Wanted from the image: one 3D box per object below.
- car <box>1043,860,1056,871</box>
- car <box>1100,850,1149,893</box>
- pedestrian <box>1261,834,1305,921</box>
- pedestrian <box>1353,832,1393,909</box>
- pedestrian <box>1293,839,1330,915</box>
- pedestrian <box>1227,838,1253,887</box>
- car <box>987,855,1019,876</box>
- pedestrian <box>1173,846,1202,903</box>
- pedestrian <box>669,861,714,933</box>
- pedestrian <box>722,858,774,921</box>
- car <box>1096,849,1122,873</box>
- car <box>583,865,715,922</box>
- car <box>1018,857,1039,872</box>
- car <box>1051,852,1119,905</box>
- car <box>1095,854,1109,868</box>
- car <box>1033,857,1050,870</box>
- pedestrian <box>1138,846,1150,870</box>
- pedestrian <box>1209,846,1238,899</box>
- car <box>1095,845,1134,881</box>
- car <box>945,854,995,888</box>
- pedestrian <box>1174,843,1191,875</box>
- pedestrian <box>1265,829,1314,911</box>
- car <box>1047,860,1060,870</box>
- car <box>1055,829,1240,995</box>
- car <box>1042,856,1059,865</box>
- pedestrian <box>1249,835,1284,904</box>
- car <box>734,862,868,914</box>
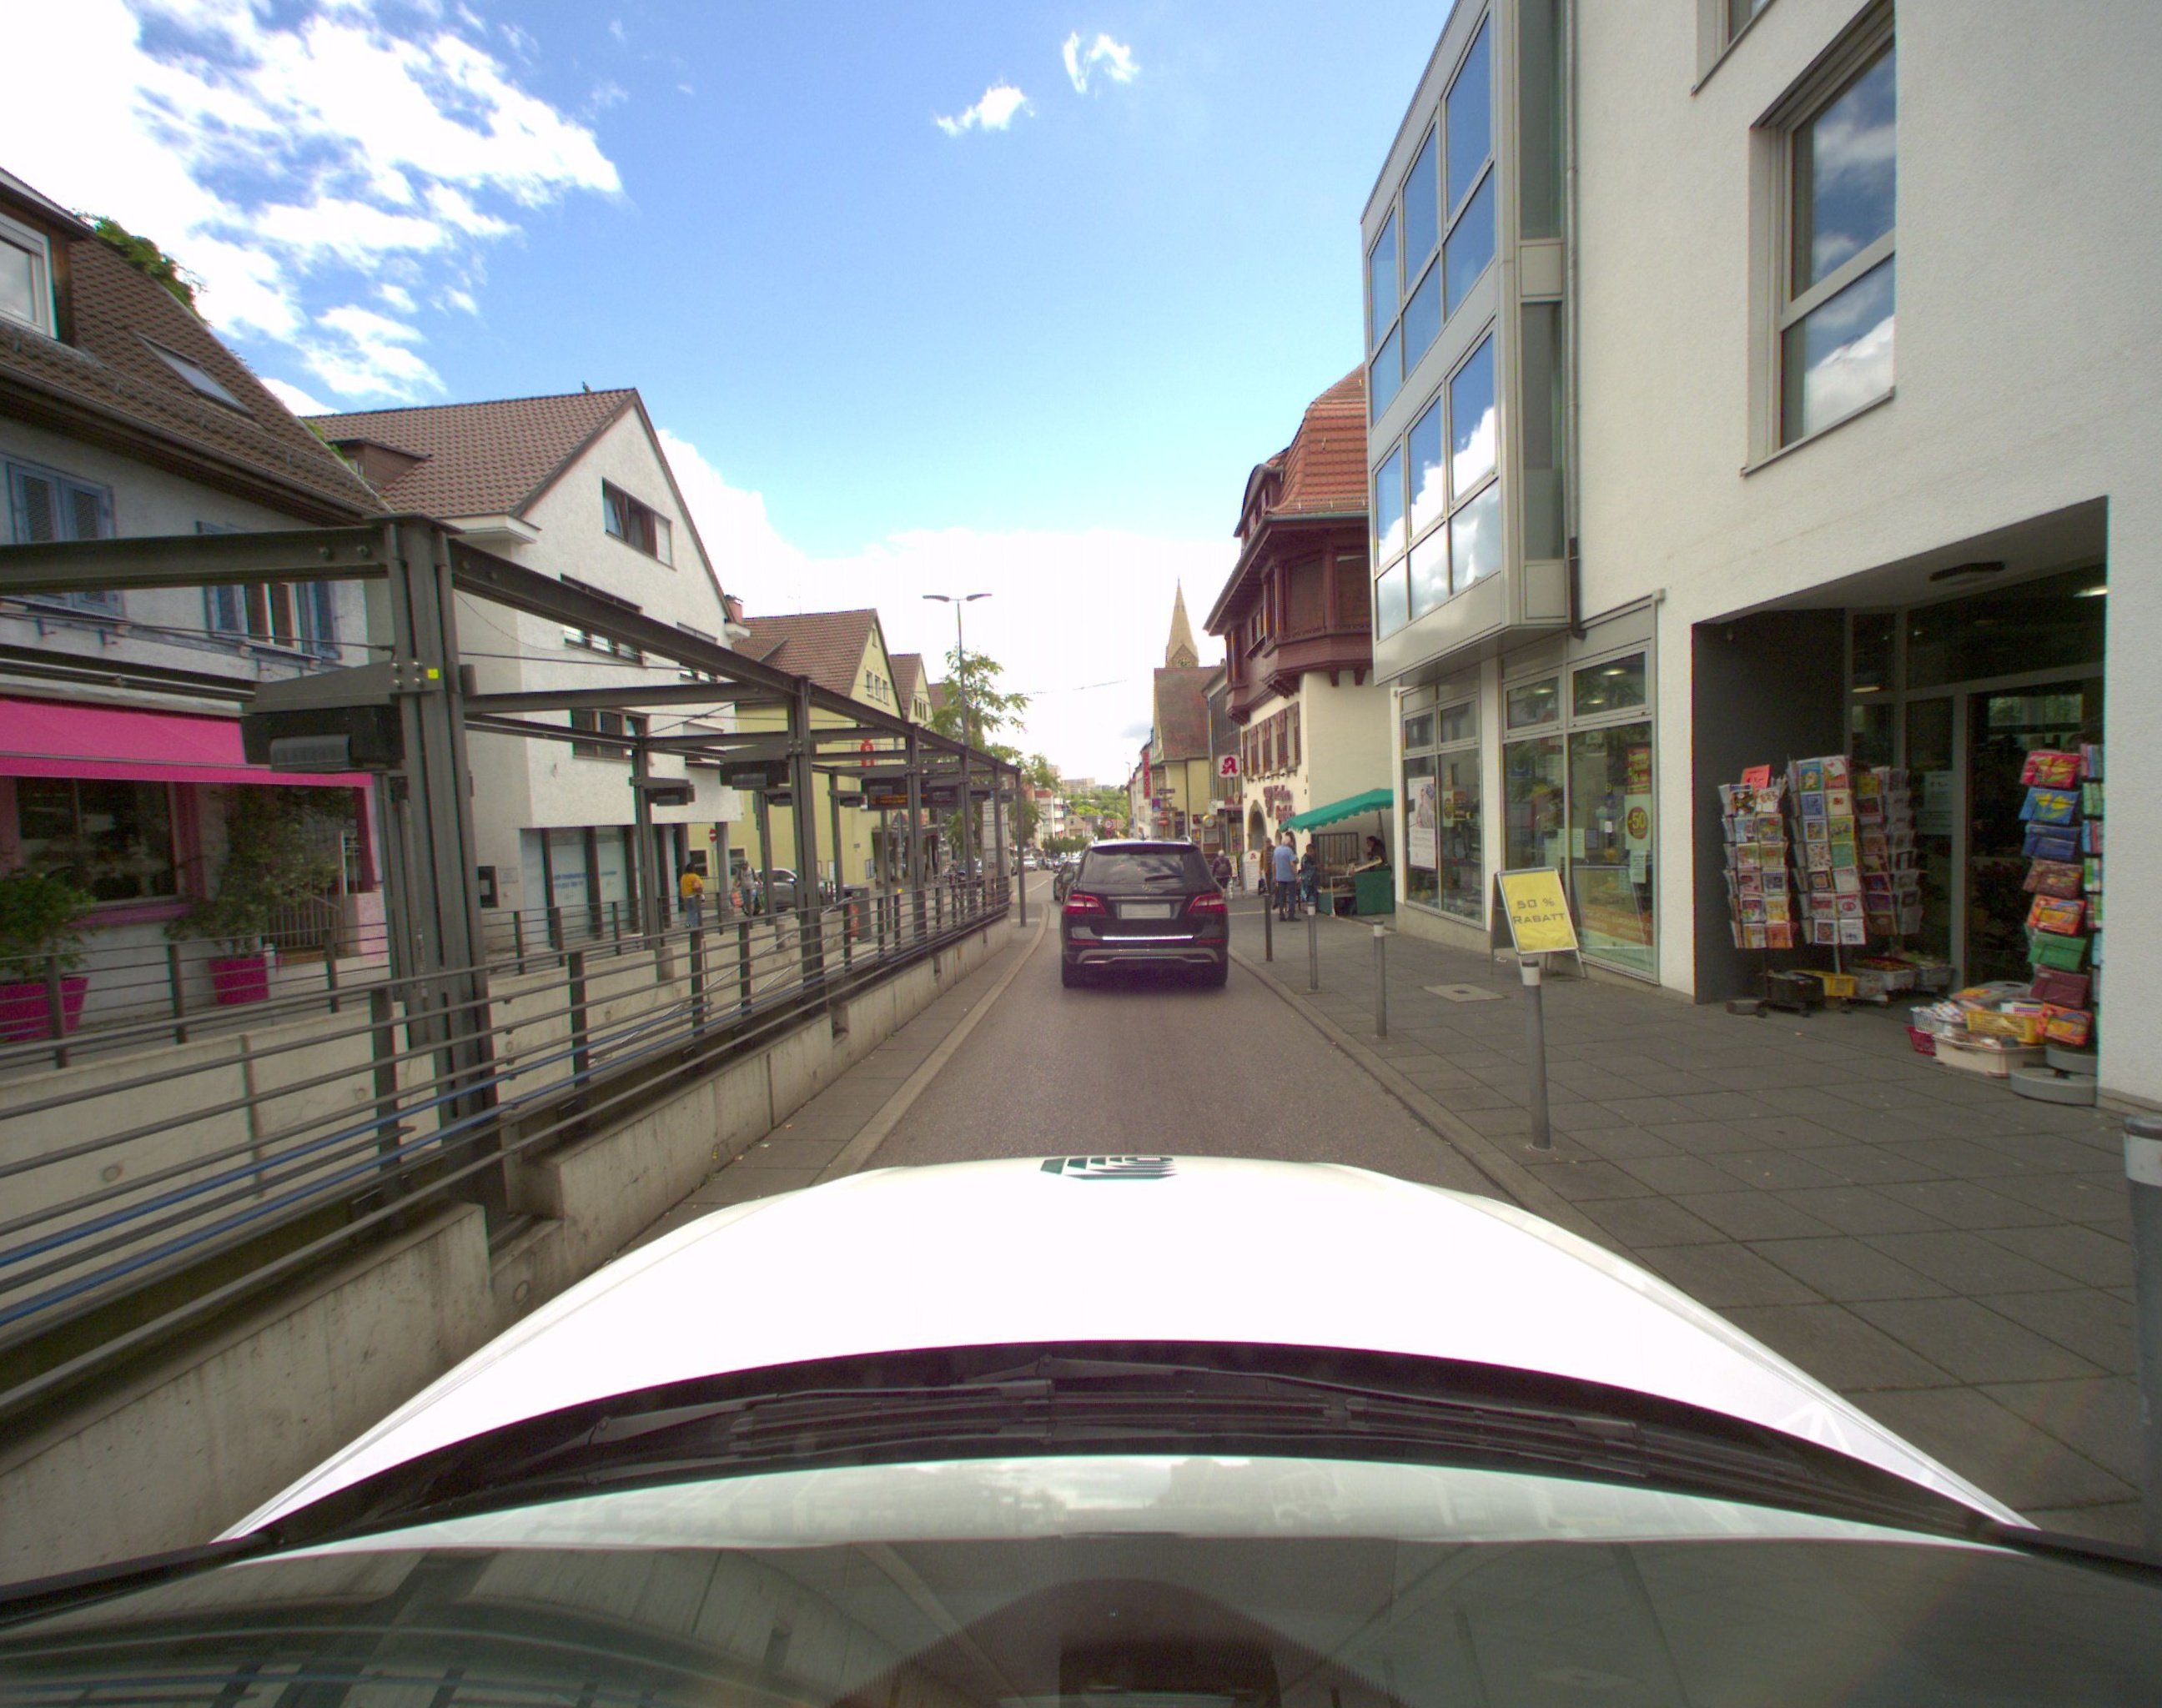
[{"bbox_3d":[-4.666,1.734,122.789,1.921,1.496,4.259,0,0,-2],"label":"car"},{"bbox_3d":[1.756,0.675,33.699,1.796,1.555,3.955,-3,0,2],"label":"car"},{"bbox_3d":[4.214,0.477,16.967,0.694,1.767,0.629,-3,0,27],"label":"pedestrian"},{"bbox_3d":[6.306,0.348,17.608,0.620,1.612,0.704,-3,0,6],"label":"pedestrian"},{"bbox_3d":[5.065,0.491,17.942,0.620,1.612,0.704,-3,0,6],"label":"pedestrian"},{"bbox_3d":[5.888,0.314,30.188,0.771,1.769,0.818,-2,0,2],"label":"pedestrian"},{"bbox_3d":[-5.847,0.811,61.503,1.920,1.492,4.842,0,0,0],"label":"car"},{"bbox_3d":[3.177,0.599,24.225,0.768,1.645,0.872,-3,0,7],"label":"pedestrian"},{"bbox_3d":[-9.873,1.066,20.645,0.635,1.738,0.835,-4,0,-1],"label":"pedestrian"},{"bbox_3d":[-9.884,1.035,24.183,0.909,1.787,0.992,-3,0,17],"label":"pedestrian"},{"bbox_3d":[2.088,0.507,60.725,1.742,1.607,3.802,-4,0,2],"label":"car"},{"bbox_3d":[-17.964,1.624,33.998,4.318,1.805,2.004,-5,3,5],"label":"car"},{"bbox_3d":[-5.402,1.037,84.219,1.920,1.511,4.261,0,0,0],"label":"car"},{"bbox_3d":[0.064,0.754,26.624,1.783,1.540,3.736,-3,0,-6],"label":"car"},{"bbox_3d":[3.334,1.092,128.773,1.931,1.891,4.707,-4,0,1],"label":"car"},{"bbox_3d":[-4.878,1.188,101.480,1.920,1.621,4.638,-1,-1,0],"label":"car"},{"bbox_3d":[4.786,0.302,62.093,0.793,1.727,1.053,-3,0,1],"label":"pedestrian"},{"bbox_3d":[4.215,0.534,24.121,0.720,1.531,0.809,-3,0,7],"label":"pedestrian"},{"bbox_3d":[1.907,0.456,44.811,1.868,1.799,4.738,-2,0,5],"label":"car"},{"bbox_3d":[-5.944,0.871,44.226,2.000,1.693,4.608,-1,1,1],"label":"car"},{"bbox_3d":[5.594,0.294,44.898,0.859,1.707,0.947,-3,0,7],"label":"pedestrian"},{"bbox_3d":[4.860,0.370,18.955,0.771,1.857,0.707,-3,0,44],"label":"pedestrian"},{"bbox_3d":[-4.374,1.730,130.177,1.921,1.595,4.454,0,0,-2],"label":"car"},{"bbox_3d":[0.763,0.606,10.690,1.936,1.740,4.180,0,0,2],"label":"car"},{"bbox_3d":[-7.336,1.581,197.968,3.978,1.750,1.998,-4,-1,-3],"label":"car"},{"bbox_3d":[4.968,0.407,21.902,0.782,1.801,0.677,-3,0,7],"label":"pedestrian"},{"bbox_3d":[-10.028,1.265,29.150,4.302,1.621,1.980,-4,-5,24],"label":"car"}]
